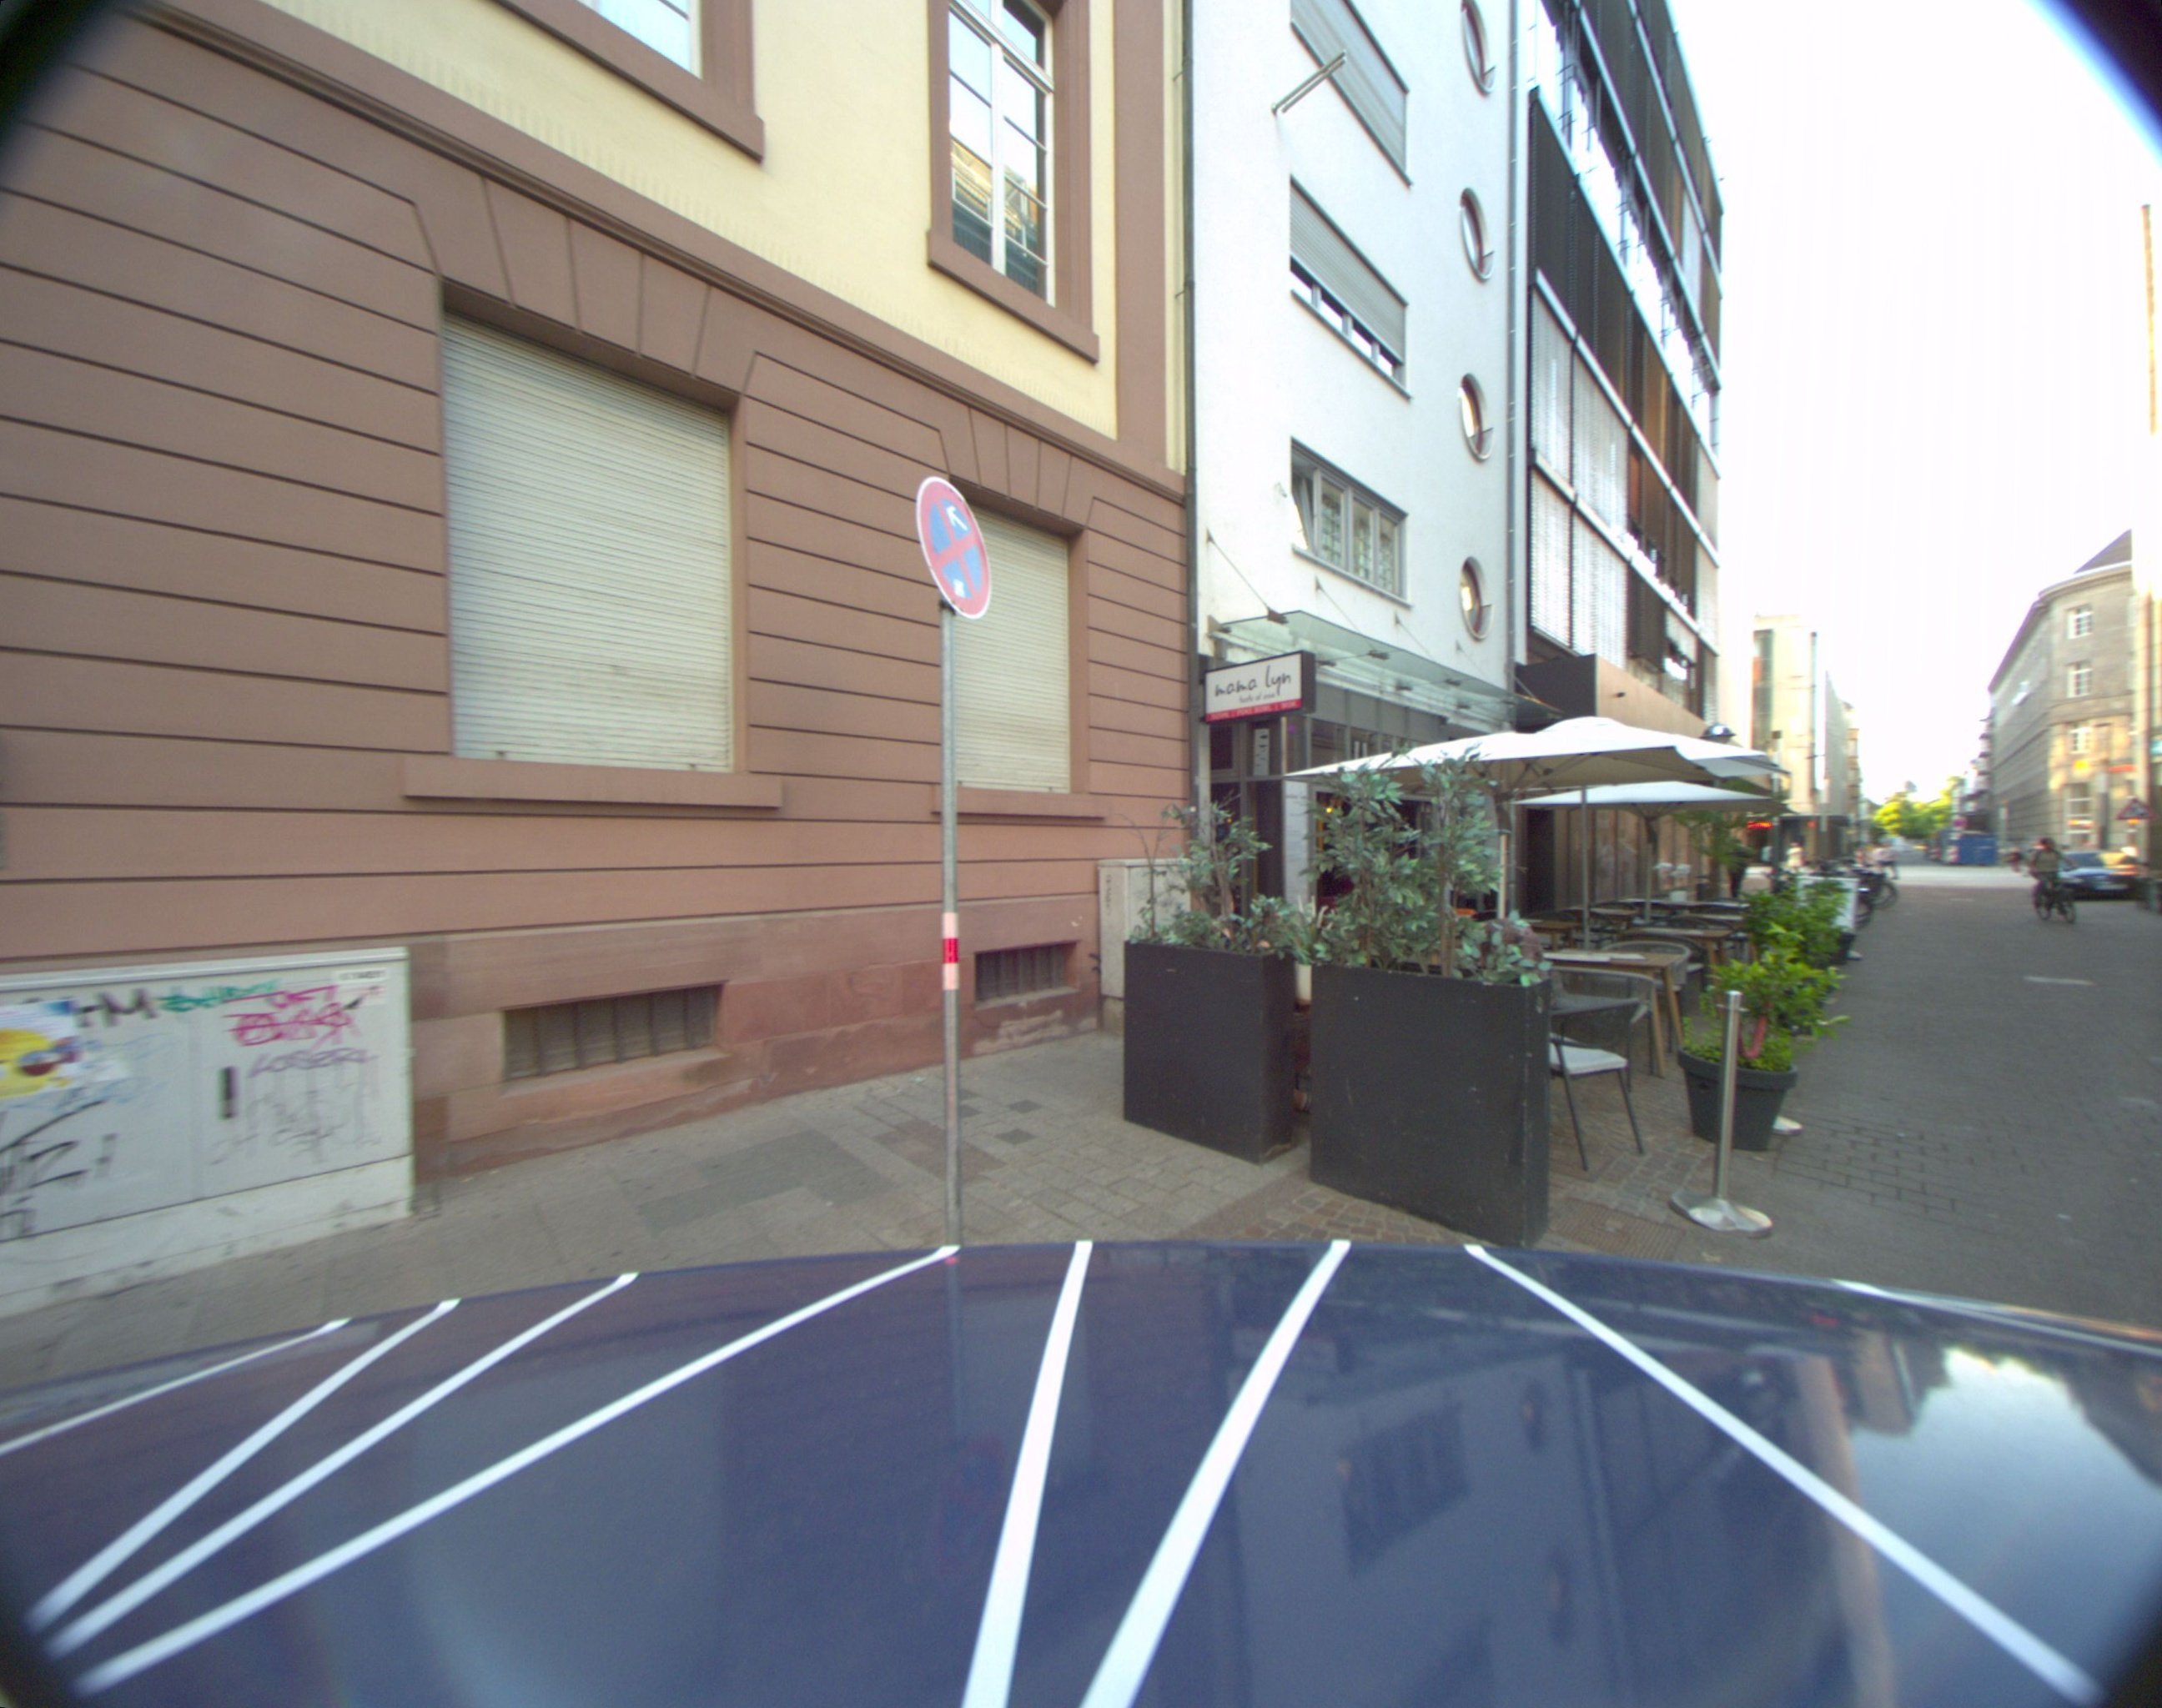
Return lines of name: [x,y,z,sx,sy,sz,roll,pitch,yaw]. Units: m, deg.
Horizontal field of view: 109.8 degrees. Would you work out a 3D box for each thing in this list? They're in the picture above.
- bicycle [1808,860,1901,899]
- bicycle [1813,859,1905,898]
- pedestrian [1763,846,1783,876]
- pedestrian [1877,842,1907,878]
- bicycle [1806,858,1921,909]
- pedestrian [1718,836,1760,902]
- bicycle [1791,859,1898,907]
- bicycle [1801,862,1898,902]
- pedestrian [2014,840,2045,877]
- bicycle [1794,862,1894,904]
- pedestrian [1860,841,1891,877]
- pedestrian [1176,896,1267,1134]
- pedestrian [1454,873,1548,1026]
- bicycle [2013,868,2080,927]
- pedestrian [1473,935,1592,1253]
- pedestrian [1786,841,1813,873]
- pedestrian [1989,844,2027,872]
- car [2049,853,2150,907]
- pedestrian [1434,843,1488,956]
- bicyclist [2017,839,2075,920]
bicycle: [24.247,0.787,23.855,0.620,1.161,2.034,-1,1,-44]
bicycle: [25.014,0.769,24.470,0.620,1.209,2.034,-1,1,-44]
pedestrian: [36.229,0.354,39.766,0.784,1.516,0.634,-2,2,-37]
pedestrian: [36.665,0.270,34.352,0.784,1.612,0.634,-1,2,-20]
bicycle: [20.651,0.745,20.107,0.667,1.161,2.033,-1,4,-44]
pedestrian: [18.569,0.413,21.445,0.676,1.826,0.802,-1,1,-41]
bicycle: [21.448,0.782,21.391,0.620,1.161,2.033,-1,4,-44]
bicycle: [23.211,0.824,22.996,0.620,1.161,2.034,-1,1,-44]
pedestrian: [43.283,0.193,34.689,0.670,1.628,0.763,-2,2,-30]
bicycle: [22.353,0.816,22.296,0.620,1.161,2.034,-1,1,-44]
pedestrian: [36.798,0.226,35.190,0.781,1.612,0.637,0,2,24]
pedestrian: [0.848,0.916,4.542,0.361,1.298,0.496,0,1,33]
pedestrian: [4.235,0.910,7.655,0.870,1.412,0.574,-1,1,-42]
bicycle: [20.520,0.886,16.182,2.009,1.121,0.698,-1,1,-44]
pedestrian: [1.953,0.983,3.284,0.399,1.206,0.384,0,1,38]
pedestrian: [37.267,0.135,39.425,0.635,1.612,0.783,-1,2,-2]
pedestrian: [51.729,0.225,42.398,0.992,1.563,0.920,-1,1,1]
car: [29.408,0.697,22.025,3.611,1.415,1.599,-1,1,-39]
pedestrian: [6.144,0.715,12.280,0.638,1.762,0.603,0,1,42]
bicyclist: [20.481,0.515,16.142,0.871,1.660,0.674,-1,1,-44]
